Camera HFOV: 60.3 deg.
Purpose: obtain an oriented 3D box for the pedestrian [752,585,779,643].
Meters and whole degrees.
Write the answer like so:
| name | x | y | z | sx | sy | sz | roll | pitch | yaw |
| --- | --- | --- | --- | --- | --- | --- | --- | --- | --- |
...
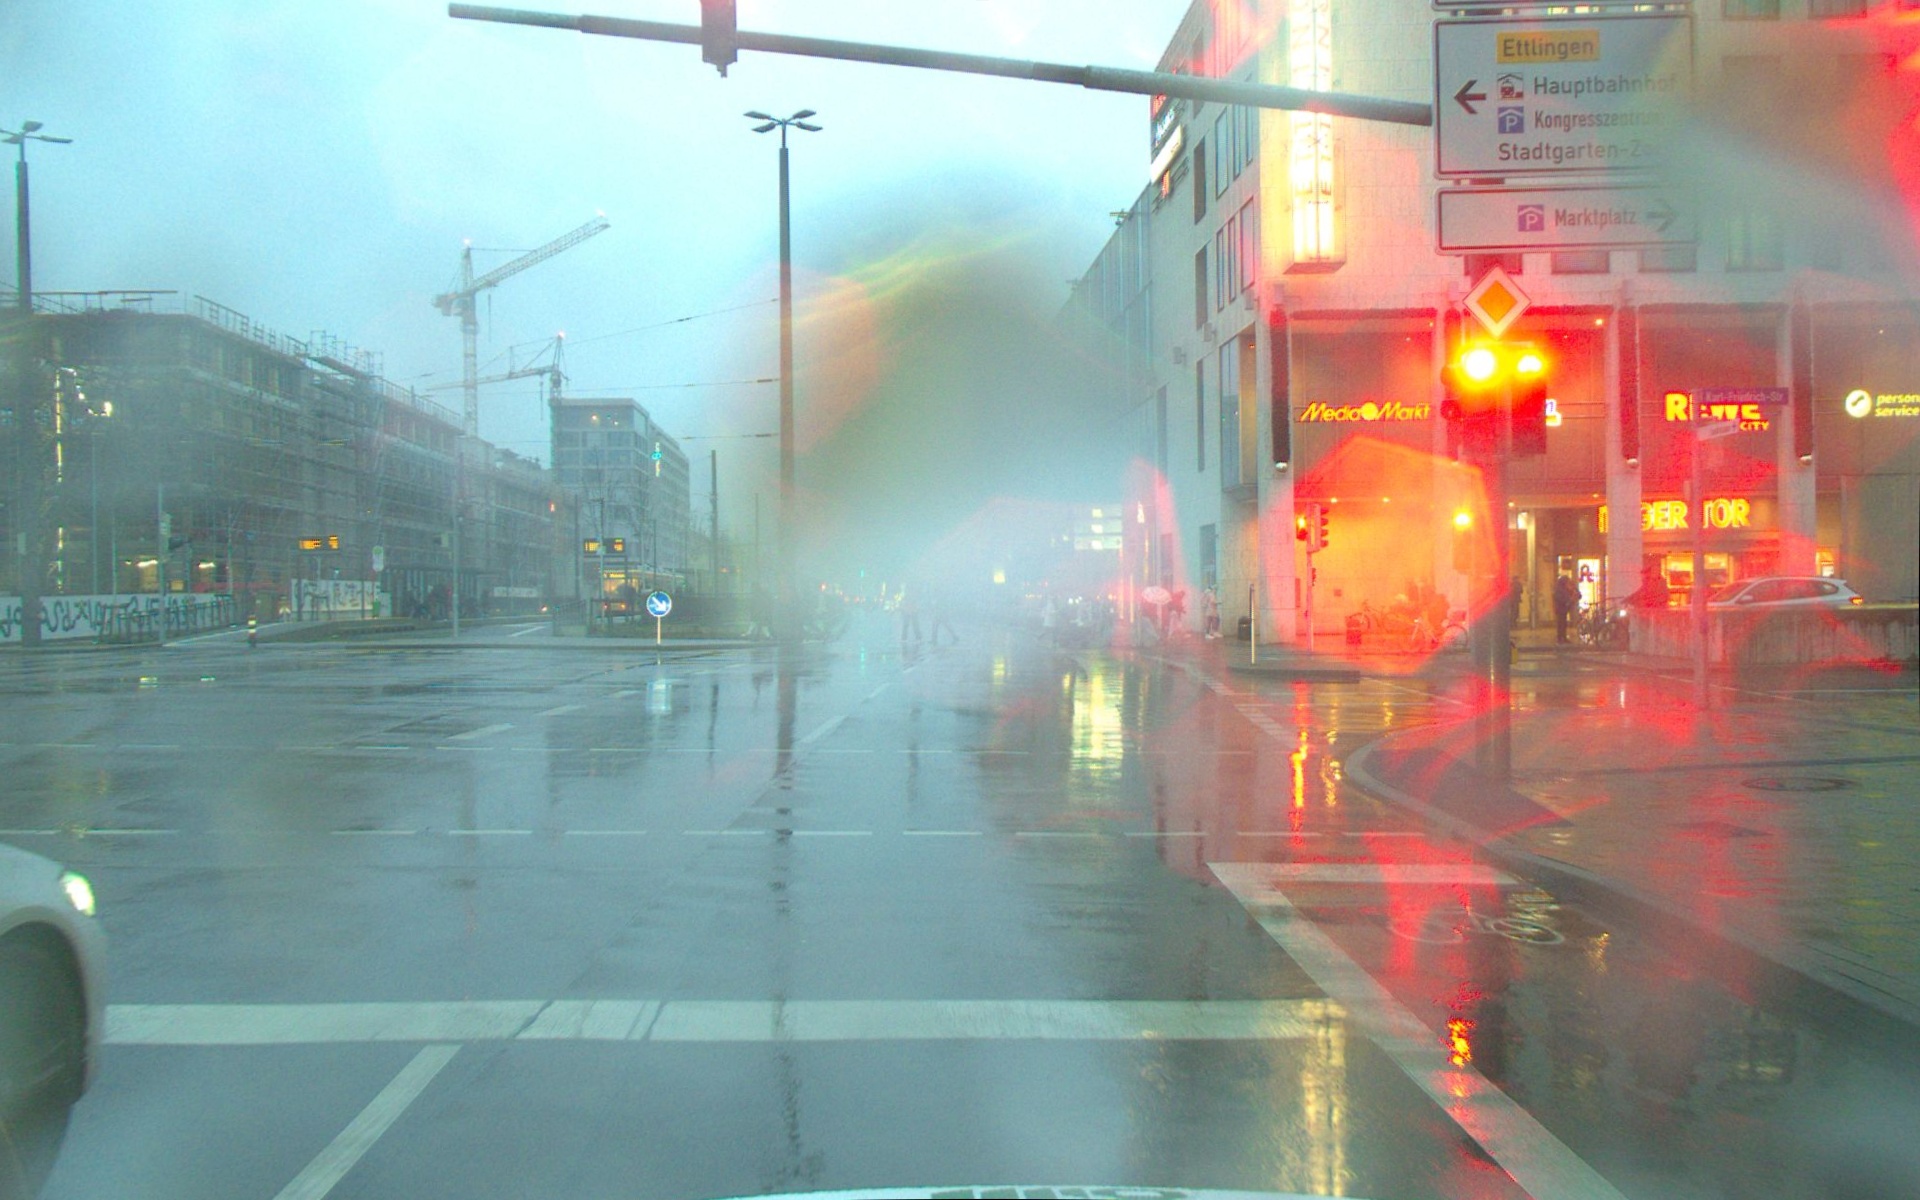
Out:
| name | x | y | z | sx | sy | sz | roll | pitch | yaw |
| --- | --- | --- | --- | --- | --- | --- | --- | --- | --- |
| pedestrian | -5.517 | 0.393 | 46.912 | 0.692 | 1.647 | 0.613 | -1 | 0 | -3 |

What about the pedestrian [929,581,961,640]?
| name | x | y | z | sx | sy | sz | roll | pitch | yaw |
| --- | --- | --- | --- | --- | --- | --- | --- | --- | --- |
| pedestrian | -0.436 | 0.304 | 49.009 | 0.825 | 1.718 | 0.678 | -1 | 0 | 8 |

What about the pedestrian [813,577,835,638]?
| name | x | y | z | sx | sy | sz | roll | pitch | yaw |
| --- | --- | --- | --- | --- | --- | --- | --- | --- | --- |
| pedestrian | -4.057 | 0.217 | 49.319 | 0.607 | 1.776 | 0.612 | -1 | 0 | -6 |

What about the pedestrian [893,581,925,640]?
| name | x | y | z | sx | sy | sz | roll | pitch | yaw |
| --- | --- | --- | --- | --- | --- | --- | --- | --- | --- |
| pedestrian | -1.485 | 0.311 | 48.262 | 0.813 | 1.709 | 0.620 | -1 | 0 | 5 |

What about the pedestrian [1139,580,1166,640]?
| name | x | y | z | sx | sy | sz | roll | pitch | yaw |
| --- | --- | --- | --- | --- | --- | --- | --- | --- | --- |
| pedestrian | 5.765 | 0.292 | 49.565 | 0.688 | 1.791 | 0.667 | -1 | 0 | -1 |

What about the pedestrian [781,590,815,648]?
| name | x | y | z | sx | sy | sz | roll | pitch | yaw |
| --- | --- | --- | --- | --- | --- | --- | --- | --- | --- |
| pedestrian | -4.616 | 0.536 | 47.060 | 0.802 | 1.647 | 0.537 | -1 | 0 | 37 |

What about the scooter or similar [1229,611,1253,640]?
| name | x | y | z | sx | sy | sz | roll | pitch | yaw |
| --- | --- | --- | --- | --- | --- | --- | --- | --- | --- |
| scooter or similar | 9.071 | 0.817 | 53.409 | 0.726 | 0.932 | 0.400 | -1 | 0 | 1 |

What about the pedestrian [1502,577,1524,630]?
| name | x | y | z | sx | sy | sz | roll | pitch | yaw |
| --- | --- | --- | --- | --- | --- | --- | --- | --- | --- |
| pedestrian | 18.465 | 0.117 | 55.231 | 0.526 | 1.748 | 0.500 | -1 | 0 | 37 |

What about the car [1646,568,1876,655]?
| name | x | y | z | sx | sy | sz | roll | pitch | yaw |
| --- | --- | --- | --- | --- | --- | --- | --- | --- | --- |
| car | 17.602 | 0.248 | 36.483 | 4.213 | 1.792 | 1.707 | -1 | 0 | 2 |

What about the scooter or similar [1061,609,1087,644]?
| name | x | y | z | sx | sy | sz | roll | pitch | yaw |
| --- | --- | --- | --- | --- | --- | --- | --- | --- | --- |
| scooter or similar | 3.416 | 0.793 | 49.698 | 0.725 | 1.011 | 0.401 | -1 | 0 | 11 |

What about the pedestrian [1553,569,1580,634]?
| name | x | y | z | sx | sy | sz | roll | pitch | yaw |
| --- | --- | --- | --- | --- | --- | --- | --- | --- | --- |
| pedestrian | 16.176 | 0.039 | 44.127 | 0.526 | 1.715 | 0.547 | -1 | 0 | 37 |

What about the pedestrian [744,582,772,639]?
| name | x | y | z | sx | sy | sz | roll | pitch | yaw |
| --- | --- | --- | --- | --- | --- | --- | --- | --- | --- |
| pedestrian | -5.898 | 0.316 | 48.329 | 0.692 | 1.647 | 0.680 | -1 | 0 | 1 |

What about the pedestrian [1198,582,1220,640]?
| name | x | y | z | sx | sy | sz | roll | pitch | yaw |
| --- | --- | --- | --- | --- | --- | --- | --- | --- | --- |
| pedestrian | 7.761 | 0.330 | 51.582 | 0.605 | 1.791 | 0.482 | -1 | 0 | -1 |

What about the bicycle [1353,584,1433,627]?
| name | x | y | z | sx | sy | sz | roll | pitch | yaw |
| --- | --- | --- | --- | --- | --- | --- | --- | --- | --- |
| bicycle | 13.764 | 0.171 | 52.552 | 2.378 | 1.352 | 0.634 | -1 | 0 | -6 |

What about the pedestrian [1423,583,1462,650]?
| name | x | y | z | sx | sy | sz | roll | pitch | yaw |
| --- | --- | --- | --- | --- | --- | --- | --- | --- | --- |
| pedestrian | 11.617 | 0.389 | 39.860 | 0.797 | 1.597 | 0.537 | -1 | 0 | 6 |

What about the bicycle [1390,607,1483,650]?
| name | x | y | z | sx | sy | sz | roll | pitch | yaw |
| --- | --- | --- | --- | --- | --- | --- | --- | --- | --- |
| bicycle | 11.489 | 0.676 | 39.928 | 2.083 | 1.009 | 0.542 | 1 | -1 | 6 |

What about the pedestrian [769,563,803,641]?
| name | x | y | z | sx | sy | sz | roll | pitch | yaw |
| --- | --- | --- | --- | --- | --- | --- | --- | --- | --- |
| pedestrian | -4.743 | 0.059 | 45.213 | 0.682 | 2.124 | 0.604 | -1 | 0 | -41 |

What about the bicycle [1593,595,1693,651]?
| name | x | y | z | sx | sy | sz | roll | pitch | yaw |
| --- | --- | --- | --- | --- | --- | --- | --- | --- | --- |
| bicycle | 13.949 | 0.475 | 33.813 | 1.806 | 1.112 | 0.618 | -1 | 0 | 14 |

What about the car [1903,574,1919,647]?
| name | x | y | z | sx | sy | sz | roll | pitch | yaw |
| --- | --- | --- | --- | --- | --- | --- | --- | --- | --- |
| car | 23.413 | 0.191 | 36.770 | 3.969 | 1.610 | 1.675 | -1 | -1 | -3 |

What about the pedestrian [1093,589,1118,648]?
| name | x | y | z | sx | sy | sz | roll | pitch | yaw |
| --- | --- | --- | --- | --- | --- | --- | --- | --- | --- |
| pedestrian | 4.458 | 0.556 | 50.647 | 0.688 | 1.791 | 0.652 | -1 | 0 | -1 |

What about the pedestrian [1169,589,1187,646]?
| name | x | y | z | sx | sy | sz | roll | pitch | yaw |
| --- | --- | --- | --- | --- | --- | --- | --- | --- | --- |
| pedestrian | 6.924 | 0.554 | 52.593 | 0.501 | 1.791 | 0.374 | -1 | 0 | -1 |

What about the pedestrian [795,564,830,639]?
| name | x | y | z | sx | sy | sz | roll | pitch | yaw |
| --- | --- | --- | --- | --- | --- | --- | --- | --- | --- |
| pedestrian | -4.112 | 0.041 | 46.125 | 0.770 | 2.049 | 0.604 | -1 | 0 | -39 |

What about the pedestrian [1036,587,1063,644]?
| name | x | y | z | sx | sy | sz | roll | pitch | yaw |
| --- | --- | --- | --- | --- | --- | --- | --- | --- | --- |
| pedestrian | 2.696 | 0.473 | 49.838 | 0.725 | 1.696 | 0.401 | -1 | 0 | 11 |

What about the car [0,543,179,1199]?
| name | x | y | z | sx | sy | sz | roll | pitch | yaw |
| --- | --- | --- | --- | --- | --- | --- | --- | --- | --- |
| car | -2.990 | 0.665 | 1.998 | 1.871 | 1.547 | 4.922 | -1 | 0 | -2 |

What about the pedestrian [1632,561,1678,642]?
| name | x | y | z | sx | sy | sz | roll | pitch | yaw |
| --- | --- | --- | --- | --- | --- | --- | --- | --- | --- |
| pedestrian | 14.181 | 0.024 | 33.743 | 0.764 | 1.623 | 0.613 | -1 | 0 | 15 |
